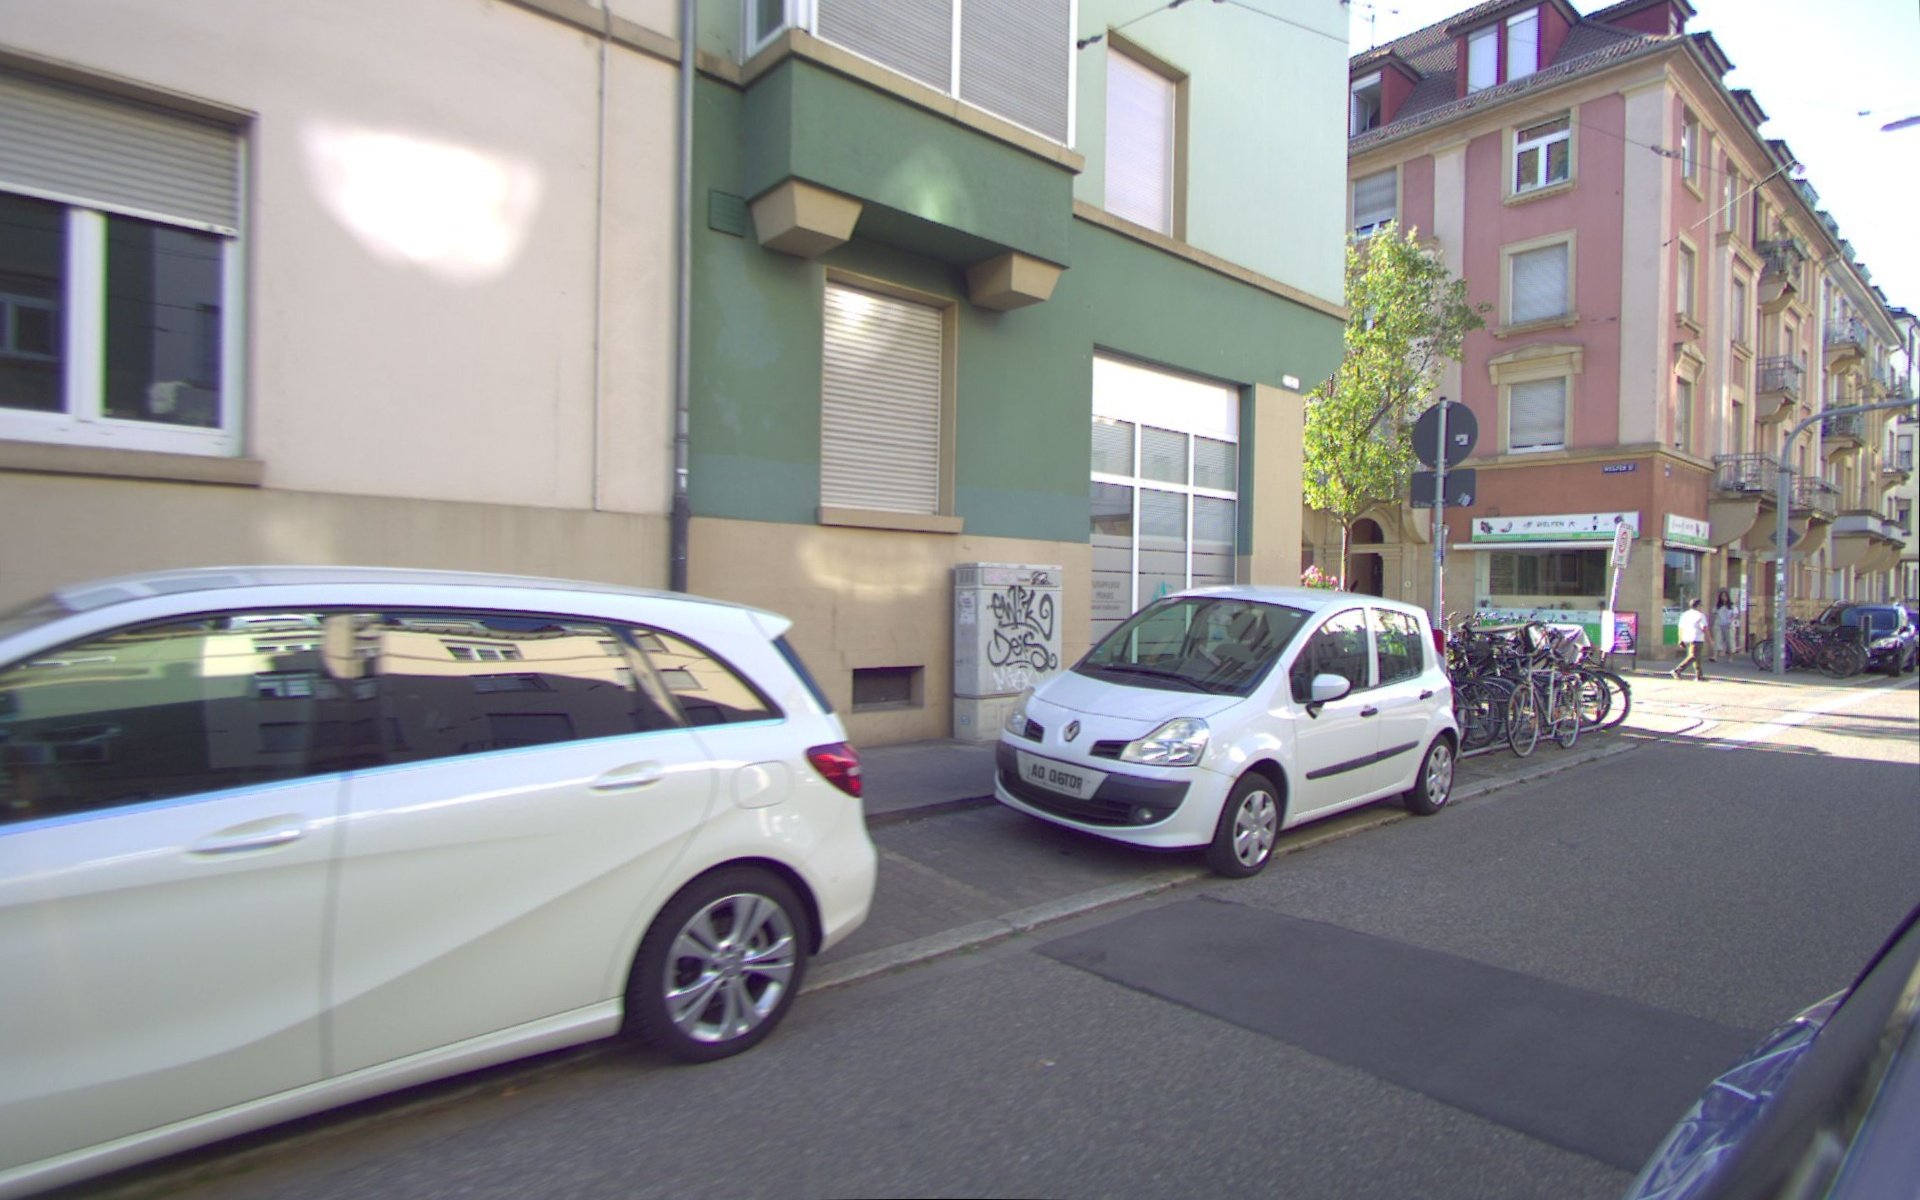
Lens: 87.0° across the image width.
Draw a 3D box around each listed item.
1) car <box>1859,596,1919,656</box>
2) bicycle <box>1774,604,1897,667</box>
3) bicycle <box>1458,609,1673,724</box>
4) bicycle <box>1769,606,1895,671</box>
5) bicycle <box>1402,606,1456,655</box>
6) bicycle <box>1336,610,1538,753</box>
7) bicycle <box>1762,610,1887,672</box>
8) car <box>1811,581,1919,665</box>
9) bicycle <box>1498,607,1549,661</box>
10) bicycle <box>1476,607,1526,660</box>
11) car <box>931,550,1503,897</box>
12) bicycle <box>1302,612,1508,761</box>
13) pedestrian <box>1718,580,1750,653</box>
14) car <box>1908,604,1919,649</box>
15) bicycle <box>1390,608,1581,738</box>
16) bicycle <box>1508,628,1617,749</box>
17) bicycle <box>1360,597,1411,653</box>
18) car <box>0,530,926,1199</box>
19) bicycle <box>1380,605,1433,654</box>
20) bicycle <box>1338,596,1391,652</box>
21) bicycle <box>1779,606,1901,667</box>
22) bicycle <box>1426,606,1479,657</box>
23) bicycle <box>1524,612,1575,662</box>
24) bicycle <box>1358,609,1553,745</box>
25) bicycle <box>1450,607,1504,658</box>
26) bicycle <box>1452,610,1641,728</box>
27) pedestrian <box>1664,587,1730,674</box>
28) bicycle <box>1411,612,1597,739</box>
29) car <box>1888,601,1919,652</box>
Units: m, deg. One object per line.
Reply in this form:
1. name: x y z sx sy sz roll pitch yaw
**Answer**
1. car: 26.957 0.704 28.608 3.663 1.614 1.757 0 0 -40
2. bicycle: 19.132 0.752 22.157 0.517 1.242 1.964 0 2 -40
3. bicycle: 7.444 0.765 12.546 0.833 1.168 2.092 1 3 -39
4. bicycle: 18.727 0.798 21.782 0.517 1.242 1.964 0 2 -40
5. bicycle: 11.537 0.728 24.870 1.698 1.169 0.544 0 0 -41
6. bicycle: 4.690 0.758 10.072 0.461 1.168 1.727 1 4 -39
7. bicycle: 18.273 0.843 21.437 0.517 1.175 1.928 0 2 -40
8. car: 22.159 0.483 24.365 4.427 1.756 1.758 0 4 -40
9. bicycle: 12.934 0.759 23.202 1.698 1.169 0.468 0 0 -41
10. bicycle: 12.618 0.766 23.589 1.698 1.169 0.468 0 0 -41
11. car: 1.892 0.569 6.795 3.929 1.652 1.787 0 1 -40
12. bicycle: 4.206 0.766 9.692 0.461 1.168 1.727 1 4 -39
13. pedestrian: 18.360 0.378 24.015 0.440 1.708 0.514 1 0 -41
14. car: 34.096 0.899 34.913 4.397 1.502 1.657 0 1 -42
15. bicycle: 5.632 0.738 10.939 0.461 1.168 1.727 1 4 -39
16. bicycle: 5.901 0.823 9.875 1.697 1.058 0.353 0 0 -39
17. bicycle: 10.835 0.619 25.753 1.698 1.400 0.491 0 0 -41
18. car: -2.318 0.632 3.063 4.250 1.596 1.787 0 1 -40
19. bicycle: 11.180 0.714 25.331 1.698 1.169 0.544 0 0 -41
20. bicycle: 10.472 0.613 26.186 1.698 1.400 0.544 0 0 -41
21. bicycle: 19.551 0.784 22.531 0.517 1.242 1.964 0 2 -40
22. bicycle: 11.901 0.735 24.431 1.698 1.169 0.544 0 0 -41
23. bicycle: 13.348 0.823 22.888 1.698 1.062 0.468 0 0 -41
24. bicycle: 5.104 0.750 10.530 0.461 1.168 1.727 1 4 -39
25. bicycle: 12.278 0.746 24.001 1.698 1.169 0.544 0 0 -41
26. bicycle: 6.955 0.773 12.091 0.461 1.168 1.848 1 4 -39
27. pedestrian: 14.523 0.590 19.962 0.689 1.654 0.732 -2 -1 -6
28. bicycle: 6.025 0.793 11.307 0.461 1.168 1.727 1 4 -39
29. car: 30.484 0.796 31.651 4.395 1.532 1.657 0 1 -41
